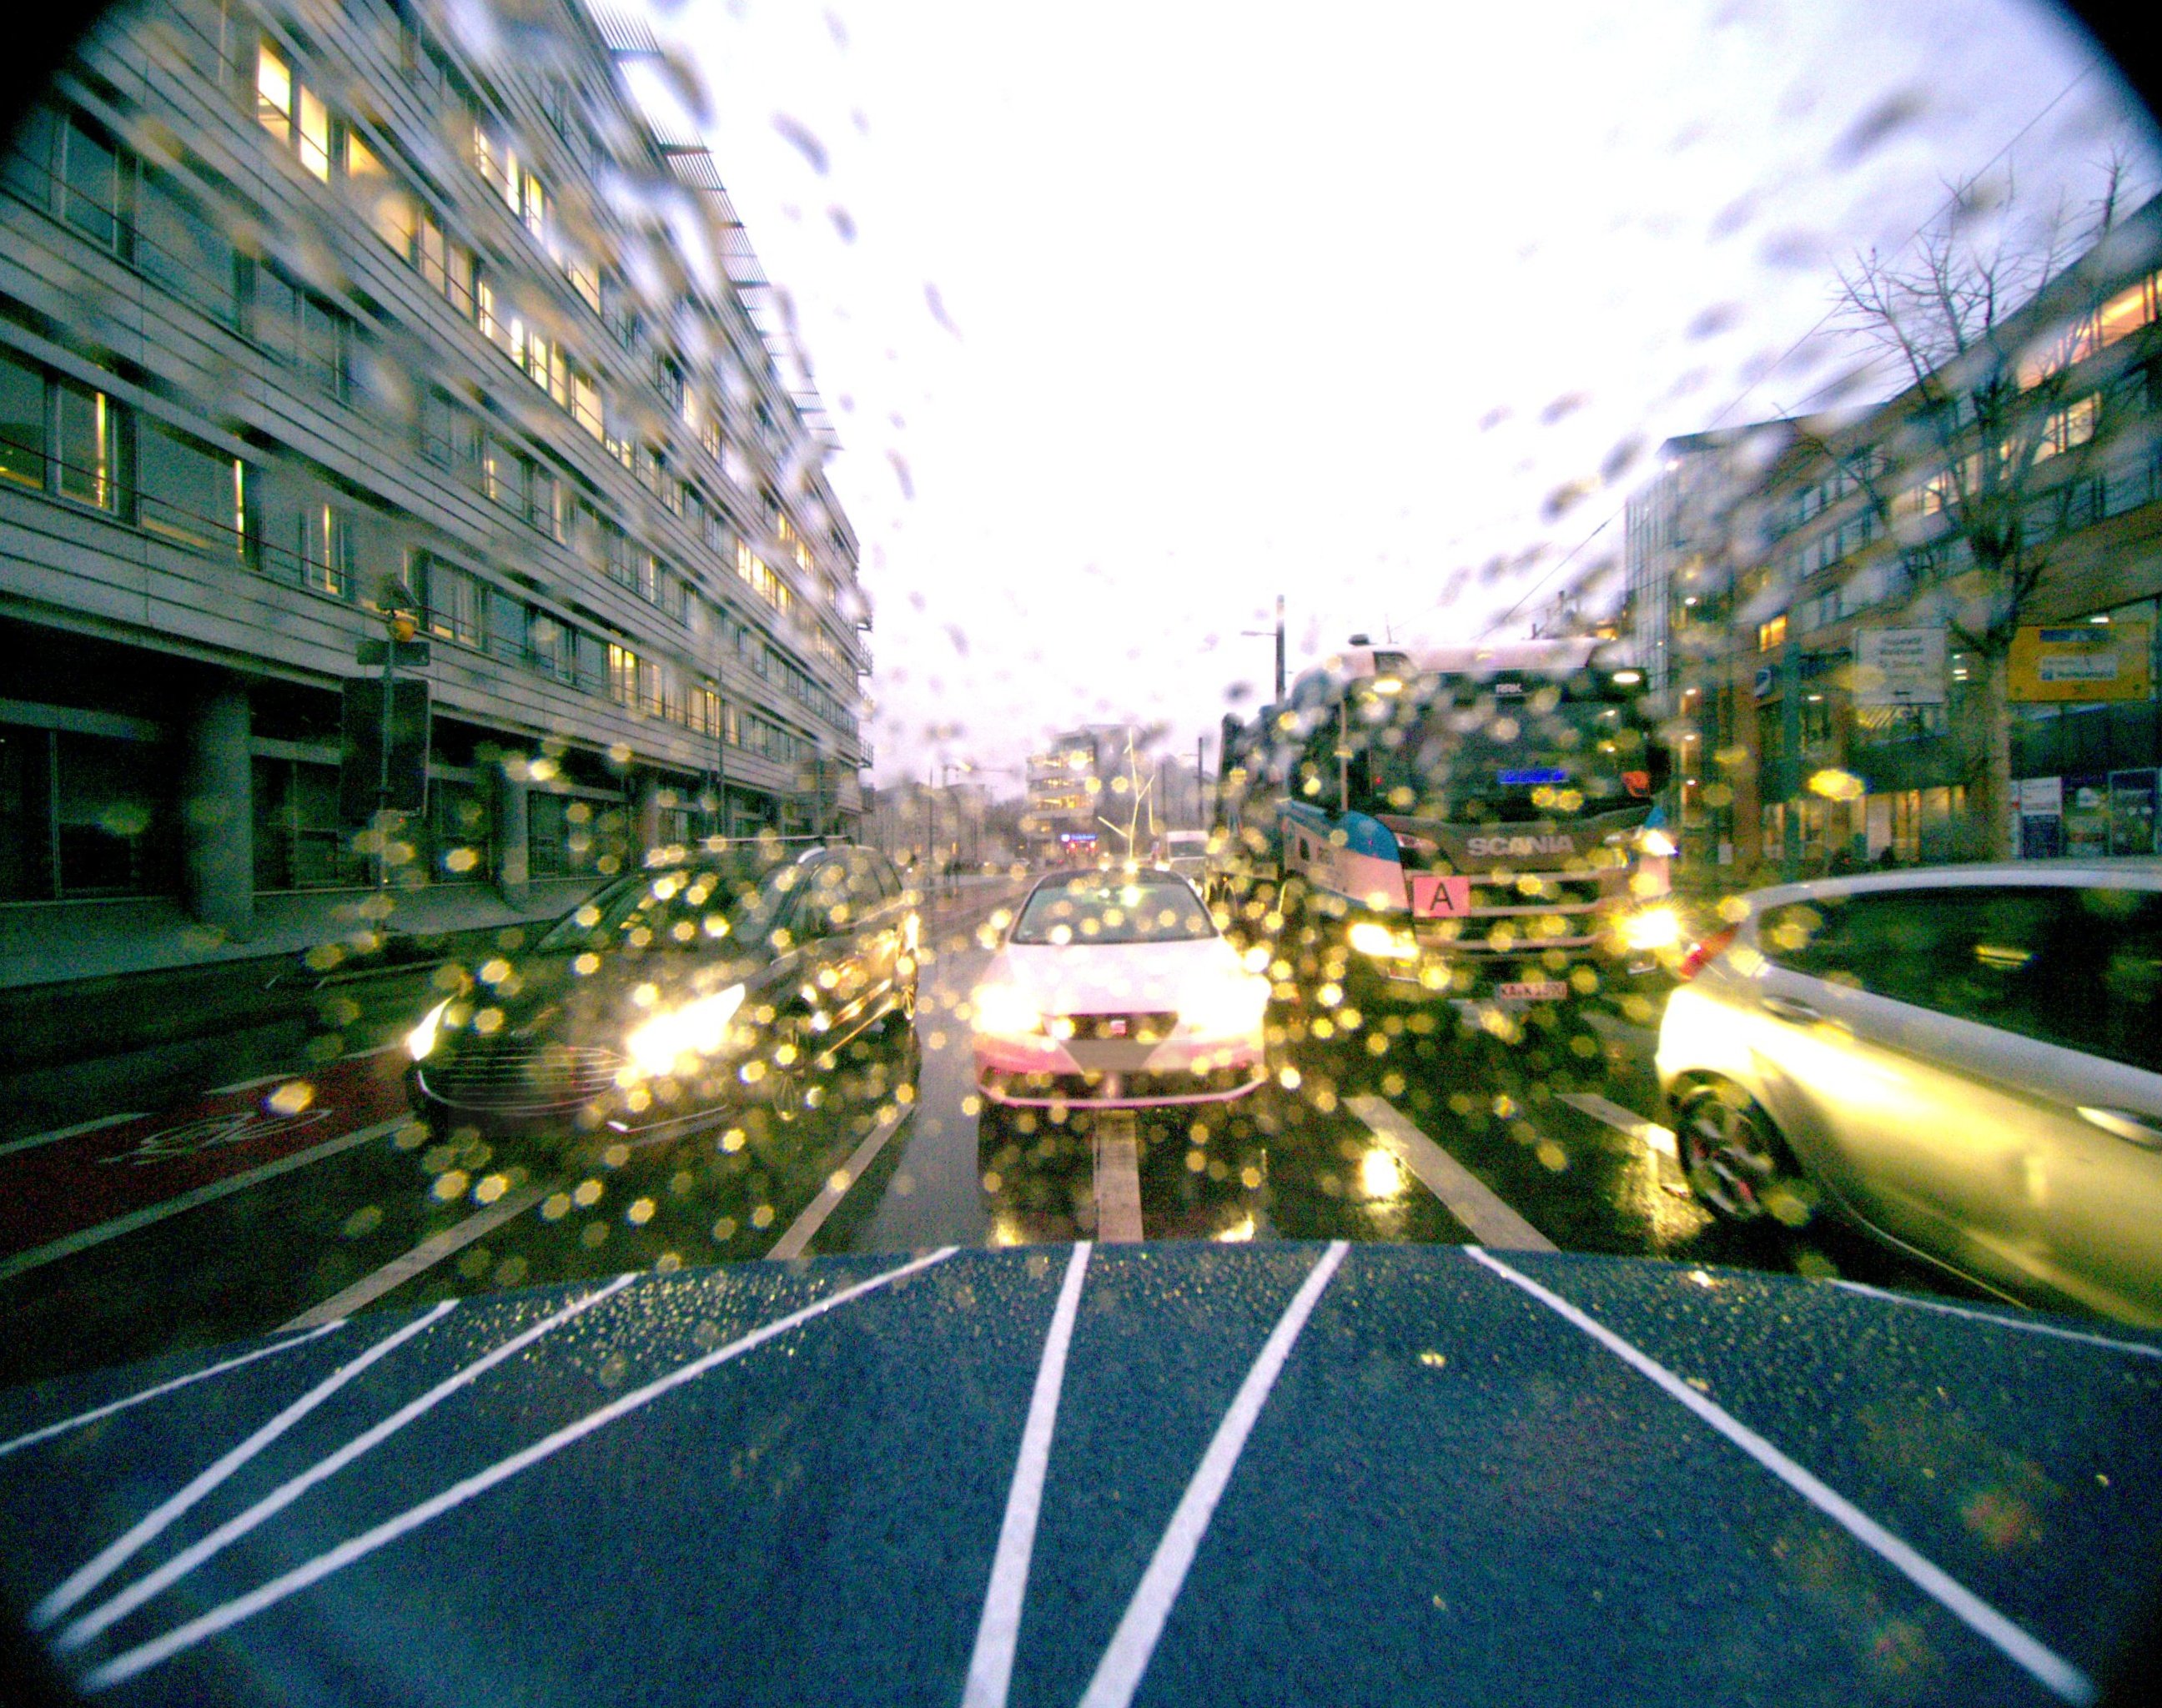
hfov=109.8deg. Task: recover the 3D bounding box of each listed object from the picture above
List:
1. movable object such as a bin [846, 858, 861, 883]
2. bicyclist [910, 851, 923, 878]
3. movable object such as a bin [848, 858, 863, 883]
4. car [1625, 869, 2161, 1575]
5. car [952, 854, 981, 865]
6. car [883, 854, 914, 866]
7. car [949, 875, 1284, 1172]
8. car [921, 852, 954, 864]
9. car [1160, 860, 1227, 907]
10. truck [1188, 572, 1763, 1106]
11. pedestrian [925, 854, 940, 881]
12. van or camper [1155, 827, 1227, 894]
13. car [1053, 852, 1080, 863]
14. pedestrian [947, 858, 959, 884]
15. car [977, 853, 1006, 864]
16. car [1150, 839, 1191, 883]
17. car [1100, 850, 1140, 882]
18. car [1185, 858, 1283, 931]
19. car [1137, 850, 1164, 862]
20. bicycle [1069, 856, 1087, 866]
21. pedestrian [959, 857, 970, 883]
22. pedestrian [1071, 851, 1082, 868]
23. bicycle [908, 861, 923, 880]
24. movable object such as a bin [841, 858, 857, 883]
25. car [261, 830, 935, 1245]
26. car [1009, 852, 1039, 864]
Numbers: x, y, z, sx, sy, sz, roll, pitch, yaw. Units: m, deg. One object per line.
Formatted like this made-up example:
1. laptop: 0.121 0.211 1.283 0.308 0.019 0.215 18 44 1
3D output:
1. movable object such as a bin: -13.252 0.953 44.257 0.666 1.420 0.840 -1 1 -2
2. bicyclist: -11.056 0.712 51.089 0.671 1.788 0.806 0 1 -3
3. movable object such as a bin: -13.416 0.957 45.186 0.666 1.468 0.840 -1 1 -2
4. car: 3.209 0.850 1.349 1.709 1.439 4.000 -2 1 2
5. car: -16.929 0.771 112.200 3.759 1.528 1.782 0 0 17
6. car: -27.845 0.890 116.048 3.996 1.663 2.002 -1 0 17
7. car: 0.218 0.968 6.058 1.782 1.464 3.943 -1 0 1
8. car: -21.408 0.633 113.686 4.368 1.750 2.002 -1 1 17
9. car: 3.576 0.885 24.668 1.759 1.337 4.057 -1 0 3
10. truck: 3.231 -0.113 8.949 2.846 3.612 7.526 -1 0 0
11. pedestrian: -9.651 0.863 49.491 0.747 1.692 0.969 2 1 -3
12. van or camper: 4.521 0.241 32.230 2.153 2.517 5.898 -1 0 0
13. car: -2.360 0.558 123.045 3.991 1.759 1.815 -1 0 20
14. pedestrian: -8.226 1.082 48.976 0.651 1.692 0.884 1 1 -3
15. car: -13.025 0.617 110.660 3.759 1.528 1.782 0 0 17
16. car: 6.153 0.431 52.727 2.129 2.847 5.813 -1 0 0
17. car: 2.317 0.680 46.048 2.169 1.744 4.540 0 2 0
18. car: 3.643 0.899 18.715 1.634 1.515 3.941 -1 1 0
19. car: 10.712 0.360 116.782 3.723 1.796 1.797 -1 0 28
20. bicycle: -0.412 0.864 94.593 2.204 1.182 0.668 0 1 2
21. pedestrian: -7.523 1.029 48.977 0.616 1.659 0.884 1 1 -3
22. pedestrian: -0.528 0.591 89.990 1.118 2.002 1.034 0 1 15
23. bicycle: -11.135 1.079 51.100 0.681 1.191 1.760 -2 1 -4
24. movable object such as a bin: -13.256 0.938 43.360 0.666 1.420 0.840 -1 1 -2
25. car: -2.610 0.820 5.718 1.887 1.800 4.671 -2 0 2
26. car: -8.140 0.588 109.467 3.918 1.699 1.782 -1 1 15
